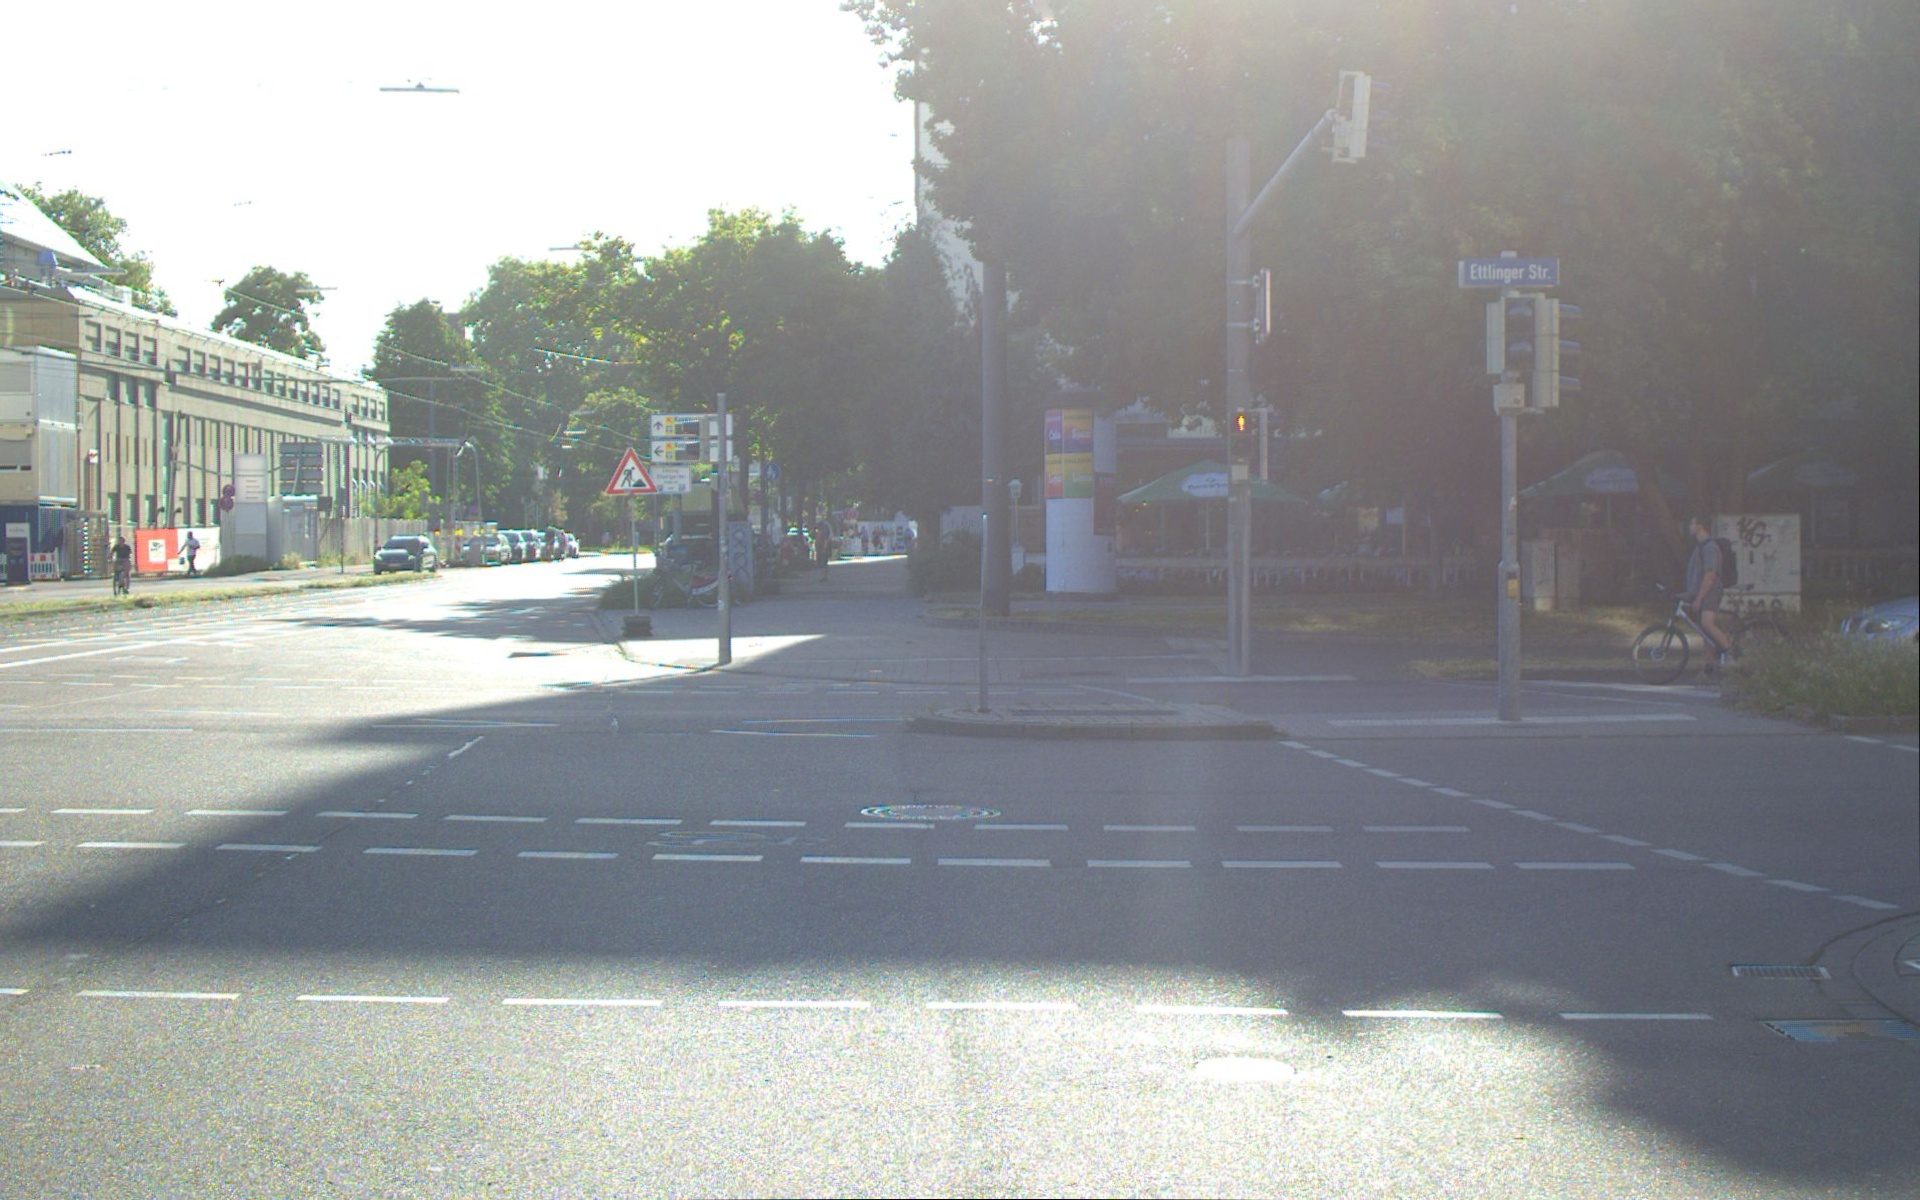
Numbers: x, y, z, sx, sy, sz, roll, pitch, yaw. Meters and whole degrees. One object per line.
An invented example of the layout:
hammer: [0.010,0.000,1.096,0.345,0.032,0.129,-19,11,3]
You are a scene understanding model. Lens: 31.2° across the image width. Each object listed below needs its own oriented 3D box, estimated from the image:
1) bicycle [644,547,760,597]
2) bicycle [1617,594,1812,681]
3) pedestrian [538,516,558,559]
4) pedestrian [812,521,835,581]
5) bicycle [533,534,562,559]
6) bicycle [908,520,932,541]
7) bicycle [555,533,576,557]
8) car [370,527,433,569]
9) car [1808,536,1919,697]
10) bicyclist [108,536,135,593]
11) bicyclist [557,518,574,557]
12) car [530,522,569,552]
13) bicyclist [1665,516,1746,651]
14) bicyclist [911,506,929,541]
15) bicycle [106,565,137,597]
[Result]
bicycle: [-5.050,-0.553,67.229,2.244,0.937,0.654,-1,1,-5]
bicycle: [7.970,0.388,36.384,1.944,0.886,0.718,1,0,6]
pedestrian: [-20.075,-3.047,167.697,0.751,2.056,1.050,1,0,5]
pedestrian: [-3.881,-1.383,97.557,0.576,1.683,0.585,-1,1,-8]
bicycle: [-20.100,-2.599,167.636,0.751,1.201,3.107,1,1,5]
bicycle: [-2.340,-4.027,200.084,0.890,1.215,2.794,1,1,-12]
bicycle: [-19.866,-2.776,173.133,0.750,1.201,3.108,1,1,-2]
car: [-22.030,-2.074,135.756,1.993,1.593,4.001,-1,1,-3]
car: [10.834,0.174,33.577,4.576,1.511,2.000,1,0,0]
bicyclist: [-22.267,-0.950,91.302,0.494,1.493,0.666,-1,1,2]
bicyclist: [-19.851,-3.133,173.010,0.750,1.913,1.215,1,0,-2]
car: [-23.247,-3.565,194.697,1.993,1.638,4.001,-1,1,-4]
bicyclist: [7.888,-0.176,36.383,0.747,1.401,0.702,1,0,6]
bicyclist: [-2.353,-4.433,200.196,0.890,2.007,0.749,1,0,-12]
bicycle: [-22.263,-0.500,91.301,0.494,0.836,1.156,-1,1,2]
